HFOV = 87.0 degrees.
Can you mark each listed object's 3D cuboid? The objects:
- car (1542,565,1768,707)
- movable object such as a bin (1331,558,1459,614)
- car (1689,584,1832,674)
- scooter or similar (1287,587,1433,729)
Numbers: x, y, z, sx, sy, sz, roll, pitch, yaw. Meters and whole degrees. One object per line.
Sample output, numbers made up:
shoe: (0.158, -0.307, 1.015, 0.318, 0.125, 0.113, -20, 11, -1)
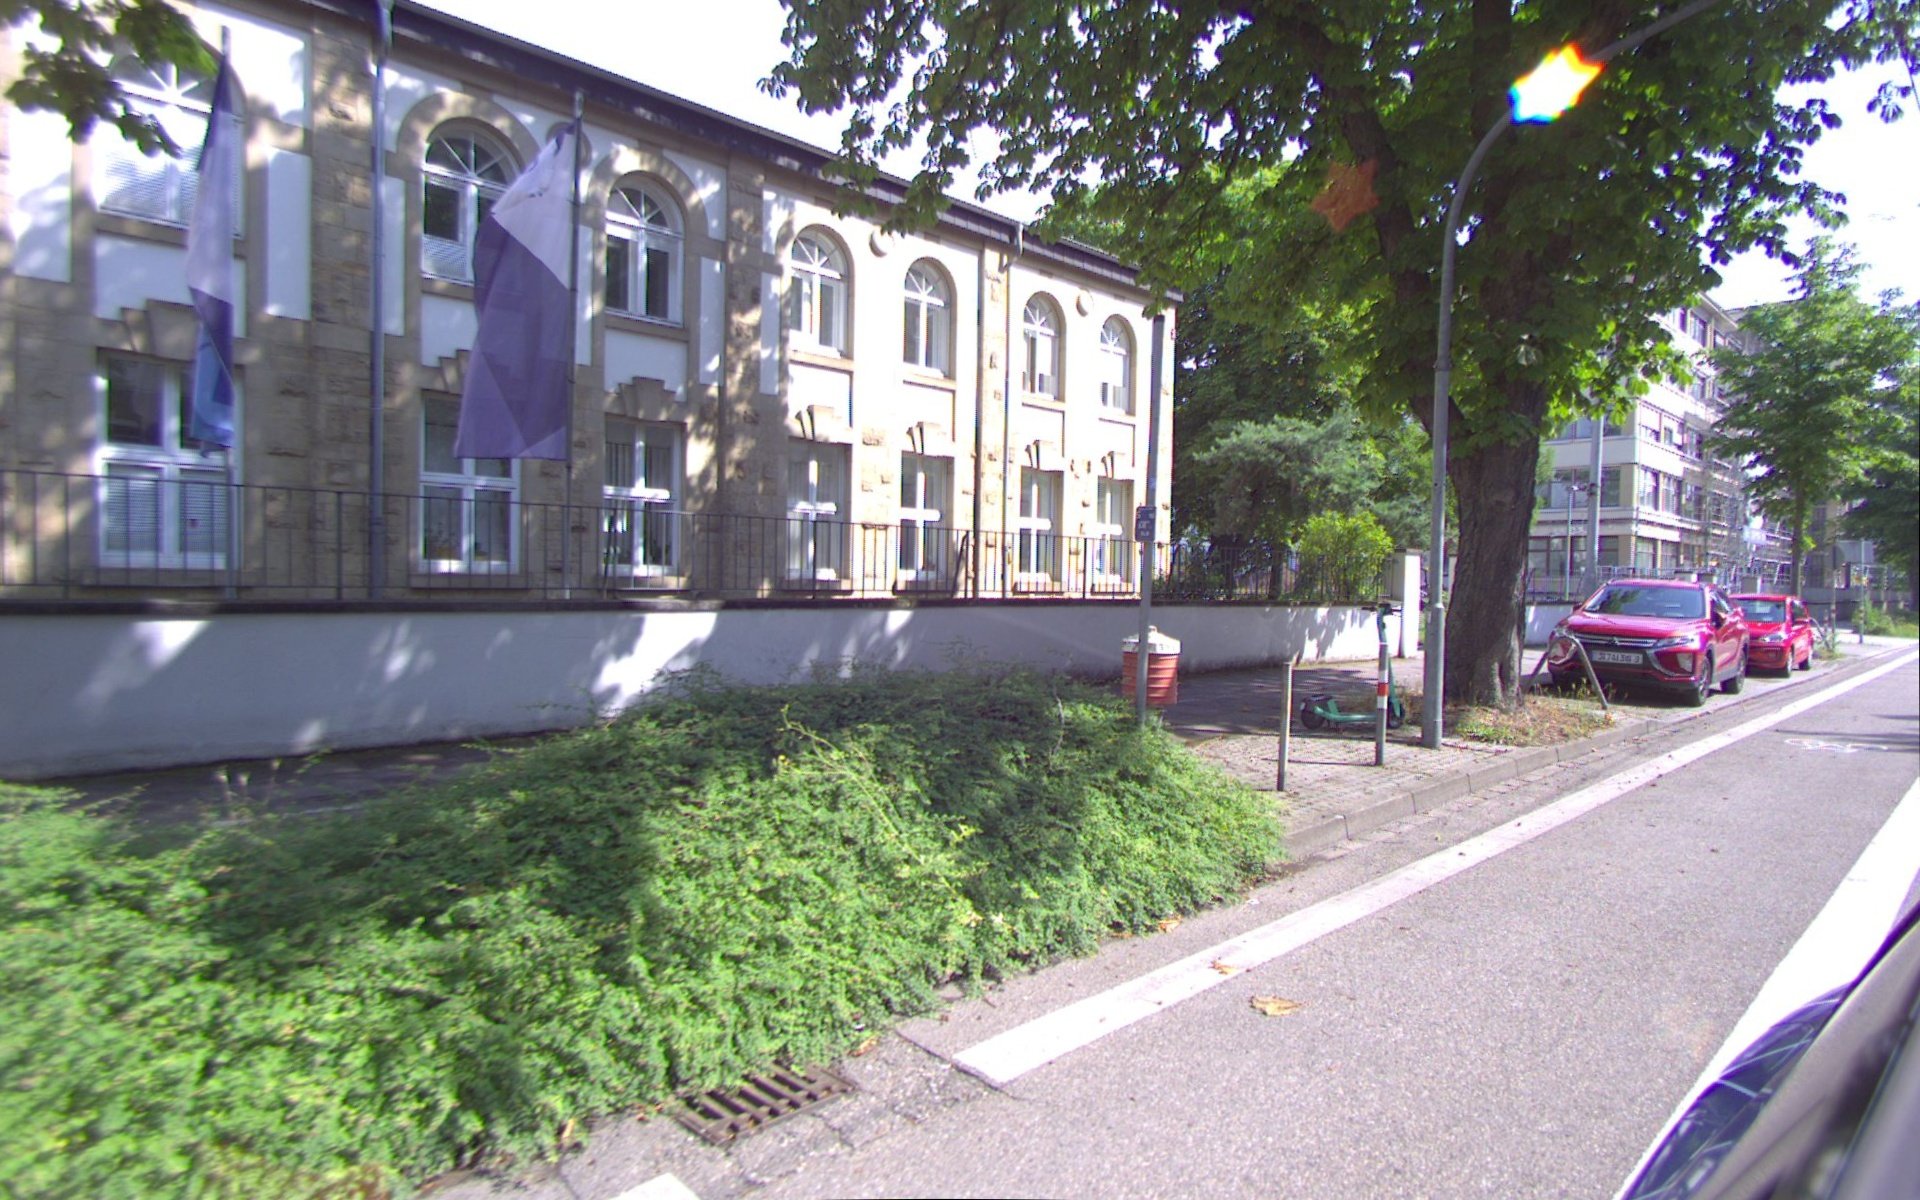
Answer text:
car: (10.176, 0.406, 14.688, 4.212, 1.696, 1.878, -1, 3, -44)
movable object such as a bin: (21.684, -0.708, 50.635, 5.339, 2.474, 1.997, 3, 1, 6)
car: (15.425, 0.487, 19.449, 3.537, 1.445, 1.603, -1, 5, -44)
scooter or similar: (3.687, 0.530, 9.332, 1.233, 1.252, 0.343, 1, 3, -18)
